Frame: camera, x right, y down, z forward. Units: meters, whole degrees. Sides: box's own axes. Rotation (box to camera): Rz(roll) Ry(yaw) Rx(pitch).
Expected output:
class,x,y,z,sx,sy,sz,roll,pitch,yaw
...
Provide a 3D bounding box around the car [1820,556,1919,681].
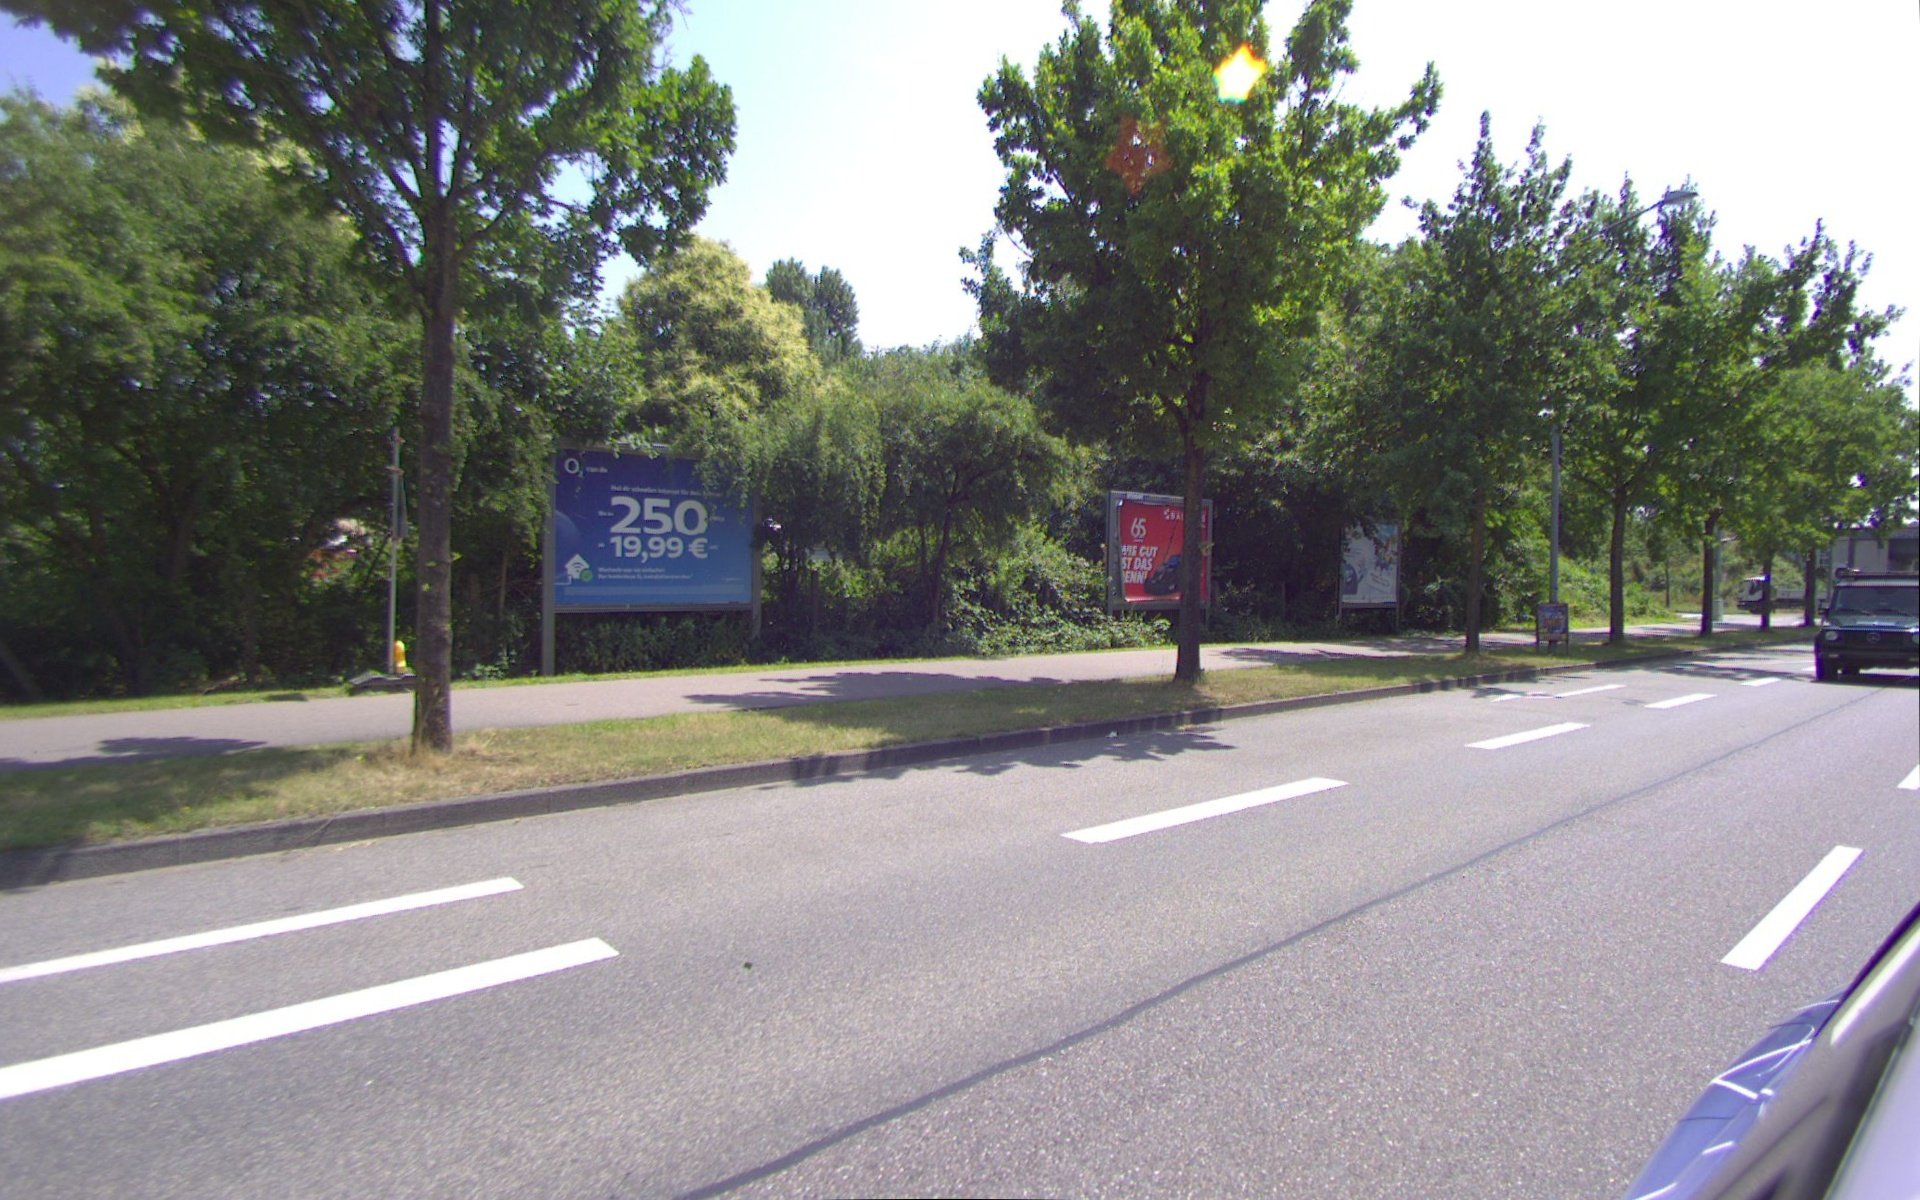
class,x,y,z,sx,sy,sz,roll,pitch,yaw
car,18.102,0.292,19.420,4.480,2.180,1.840,-1,2,-42

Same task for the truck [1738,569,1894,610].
class,x,y,z,sx,sy,sz,roll,pitch,yaw
truck,64.244,-0.831,76.254,8.436,2.952,2.860,1,1,28
